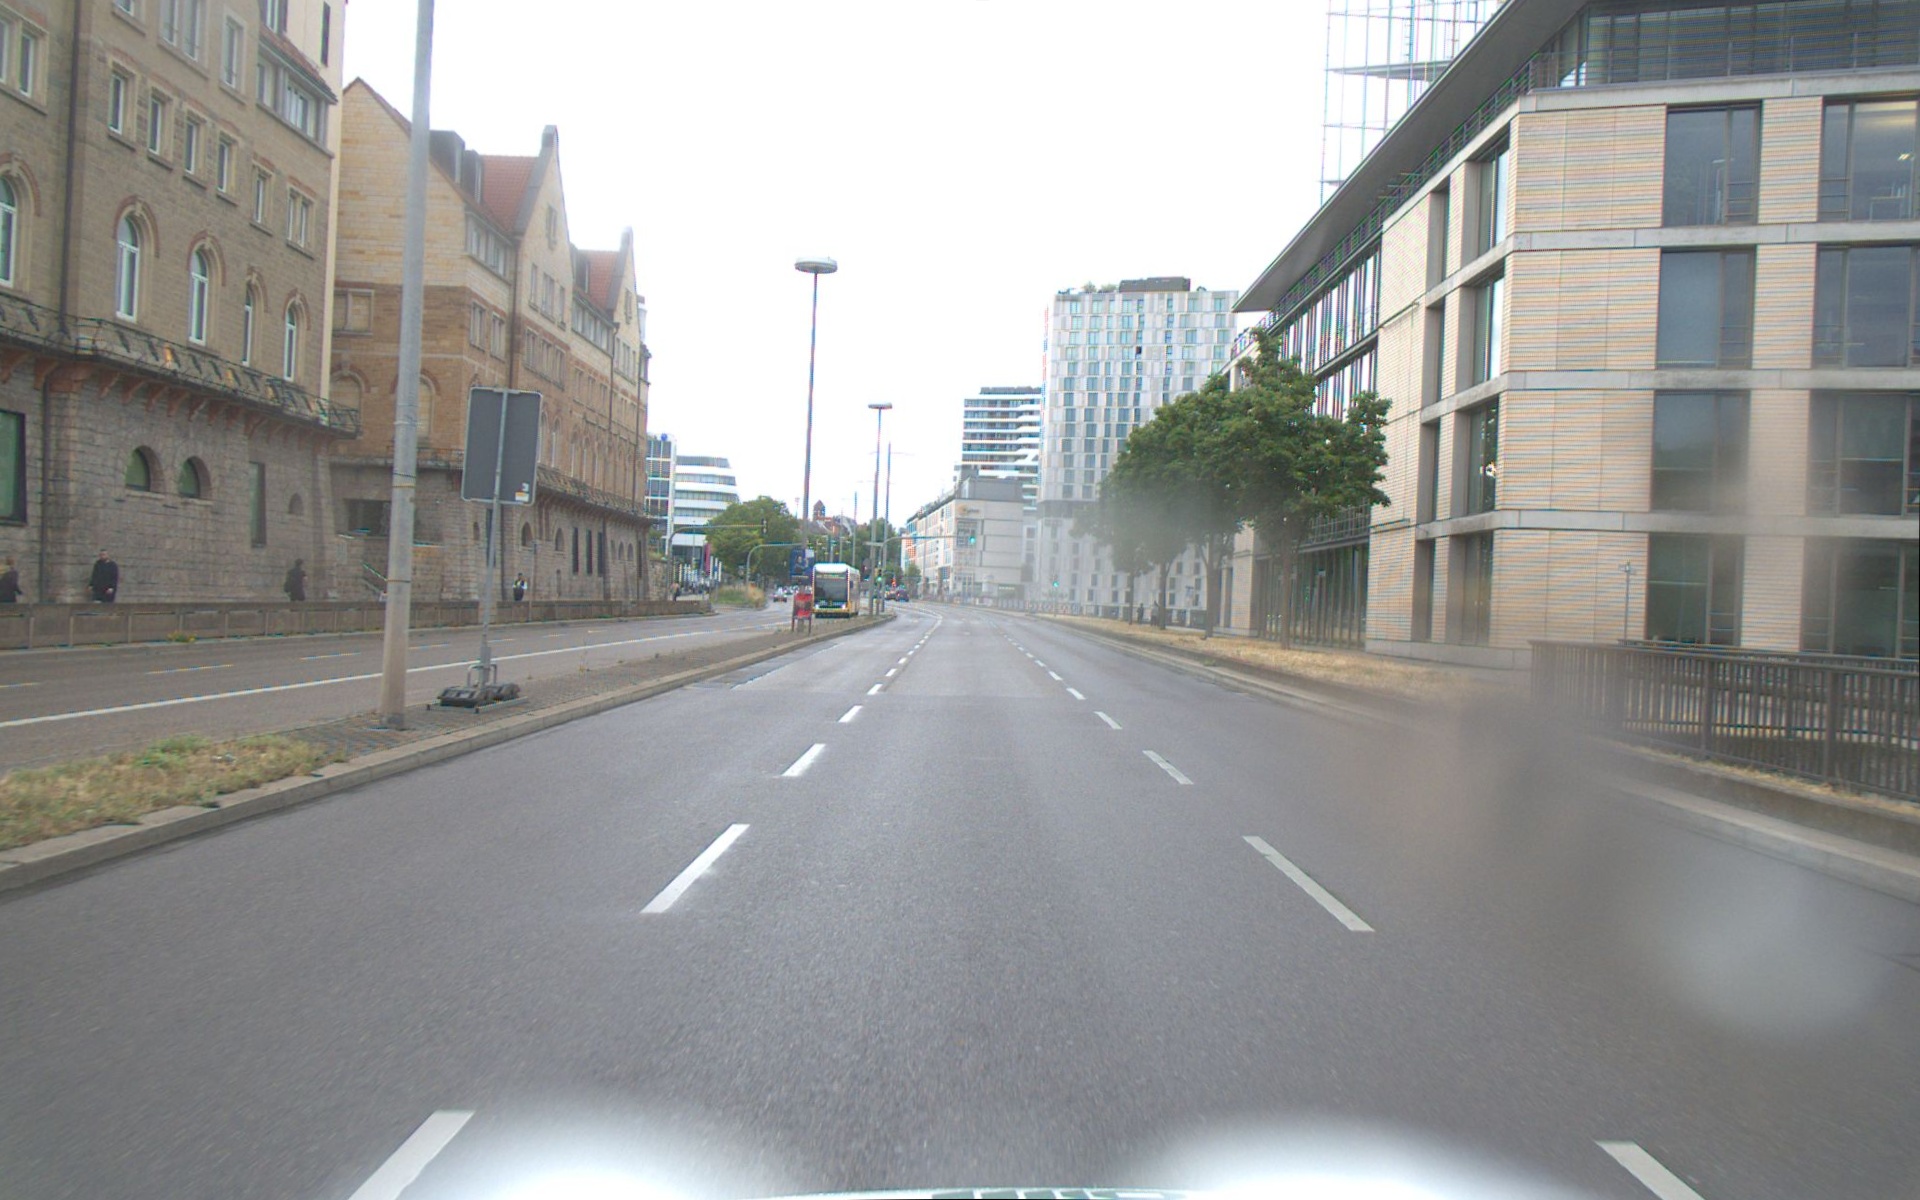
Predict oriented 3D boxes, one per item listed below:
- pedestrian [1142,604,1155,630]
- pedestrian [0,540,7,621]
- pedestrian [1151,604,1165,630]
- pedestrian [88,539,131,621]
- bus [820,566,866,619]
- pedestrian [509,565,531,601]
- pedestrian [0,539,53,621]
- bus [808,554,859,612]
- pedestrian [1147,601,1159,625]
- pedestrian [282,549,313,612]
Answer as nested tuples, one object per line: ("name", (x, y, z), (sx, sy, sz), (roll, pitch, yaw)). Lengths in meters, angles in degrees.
("pedestrian", (12.197, 1.089, 106.875), (0.540, 1.605, 0.669), (2, 1, 34))
("pedestrian", (-18.202, -0.365, 30.585), (0.739, 1.503, 0.714), (1, 1, -1))
("pedestrian", (12.863, 1.094, 107.353), (0.658, 1.605, 0.666), (2, 1, 38))
("pedestrian", (-18.824, -0.443, 36.622), (0.627, 1.776, 0.621), (1, 1, -2))
("bus", (-8.546, -0.563, 121.624), (2.643, 3.621, 10.092), (1, 0, -1))
("pedestrian", (-18.736, -0.712, 70.424), (0.739, 1.503, 0.714), (1, 1, -1))
("pedestrian", (-17.440, -0.375, 30.750), (0.739, 1.503, 0.714), (1, 1, -1))
("bus", (-8.400, -1.049, 111.009), (2.643, 3.622, 10.091), (1, -1, -1))
("pedestrian", (12.753, 0.850, 109.373), (0.540, 1.605, 0.669), (2, 1, 34))
("pedestrian", (-18.871, -0.557, 47.127), (0.627, 1.776, 0.621), (1, 1, -2))
